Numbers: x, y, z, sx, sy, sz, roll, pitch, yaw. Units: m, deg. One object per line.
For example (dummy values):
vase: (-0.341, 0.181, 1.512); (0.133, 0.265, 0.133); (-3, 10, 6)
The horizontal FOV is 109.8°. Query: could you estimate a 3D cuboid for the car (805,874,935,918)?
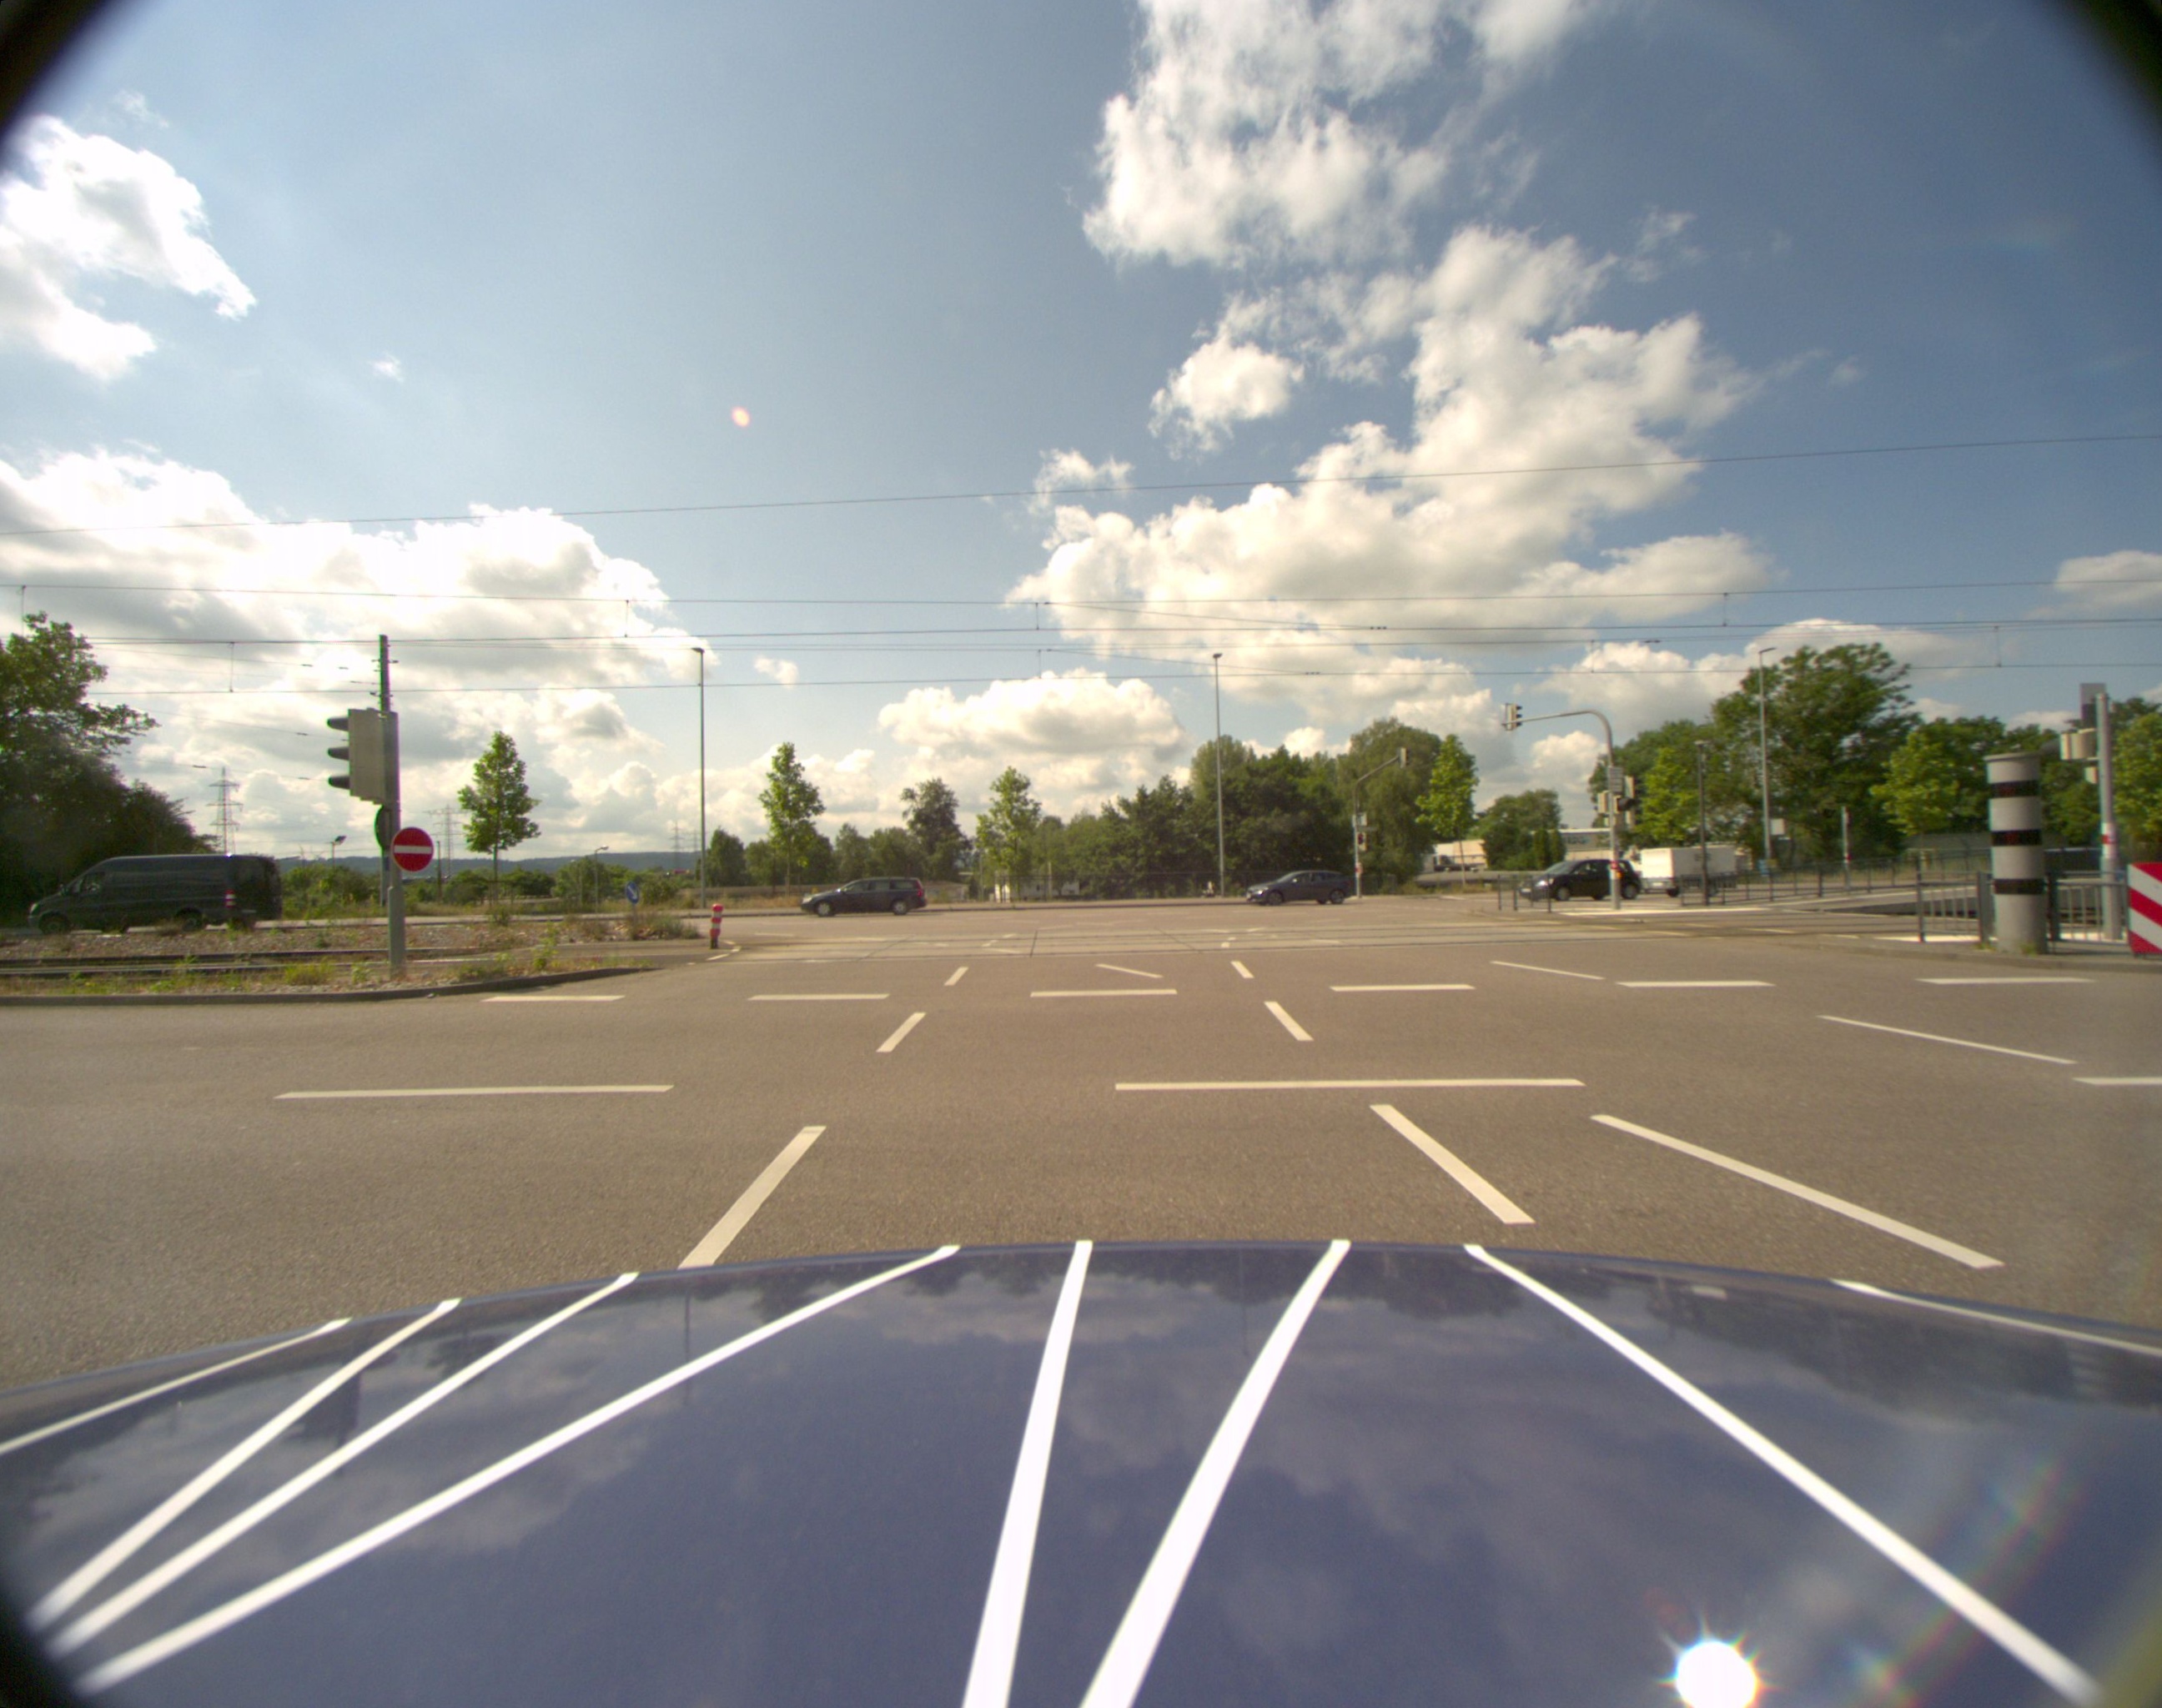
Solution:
car: (-8.235, 1.641, 30.064); (4.783, 1.499, 1.966); (-1, -2, -10)
